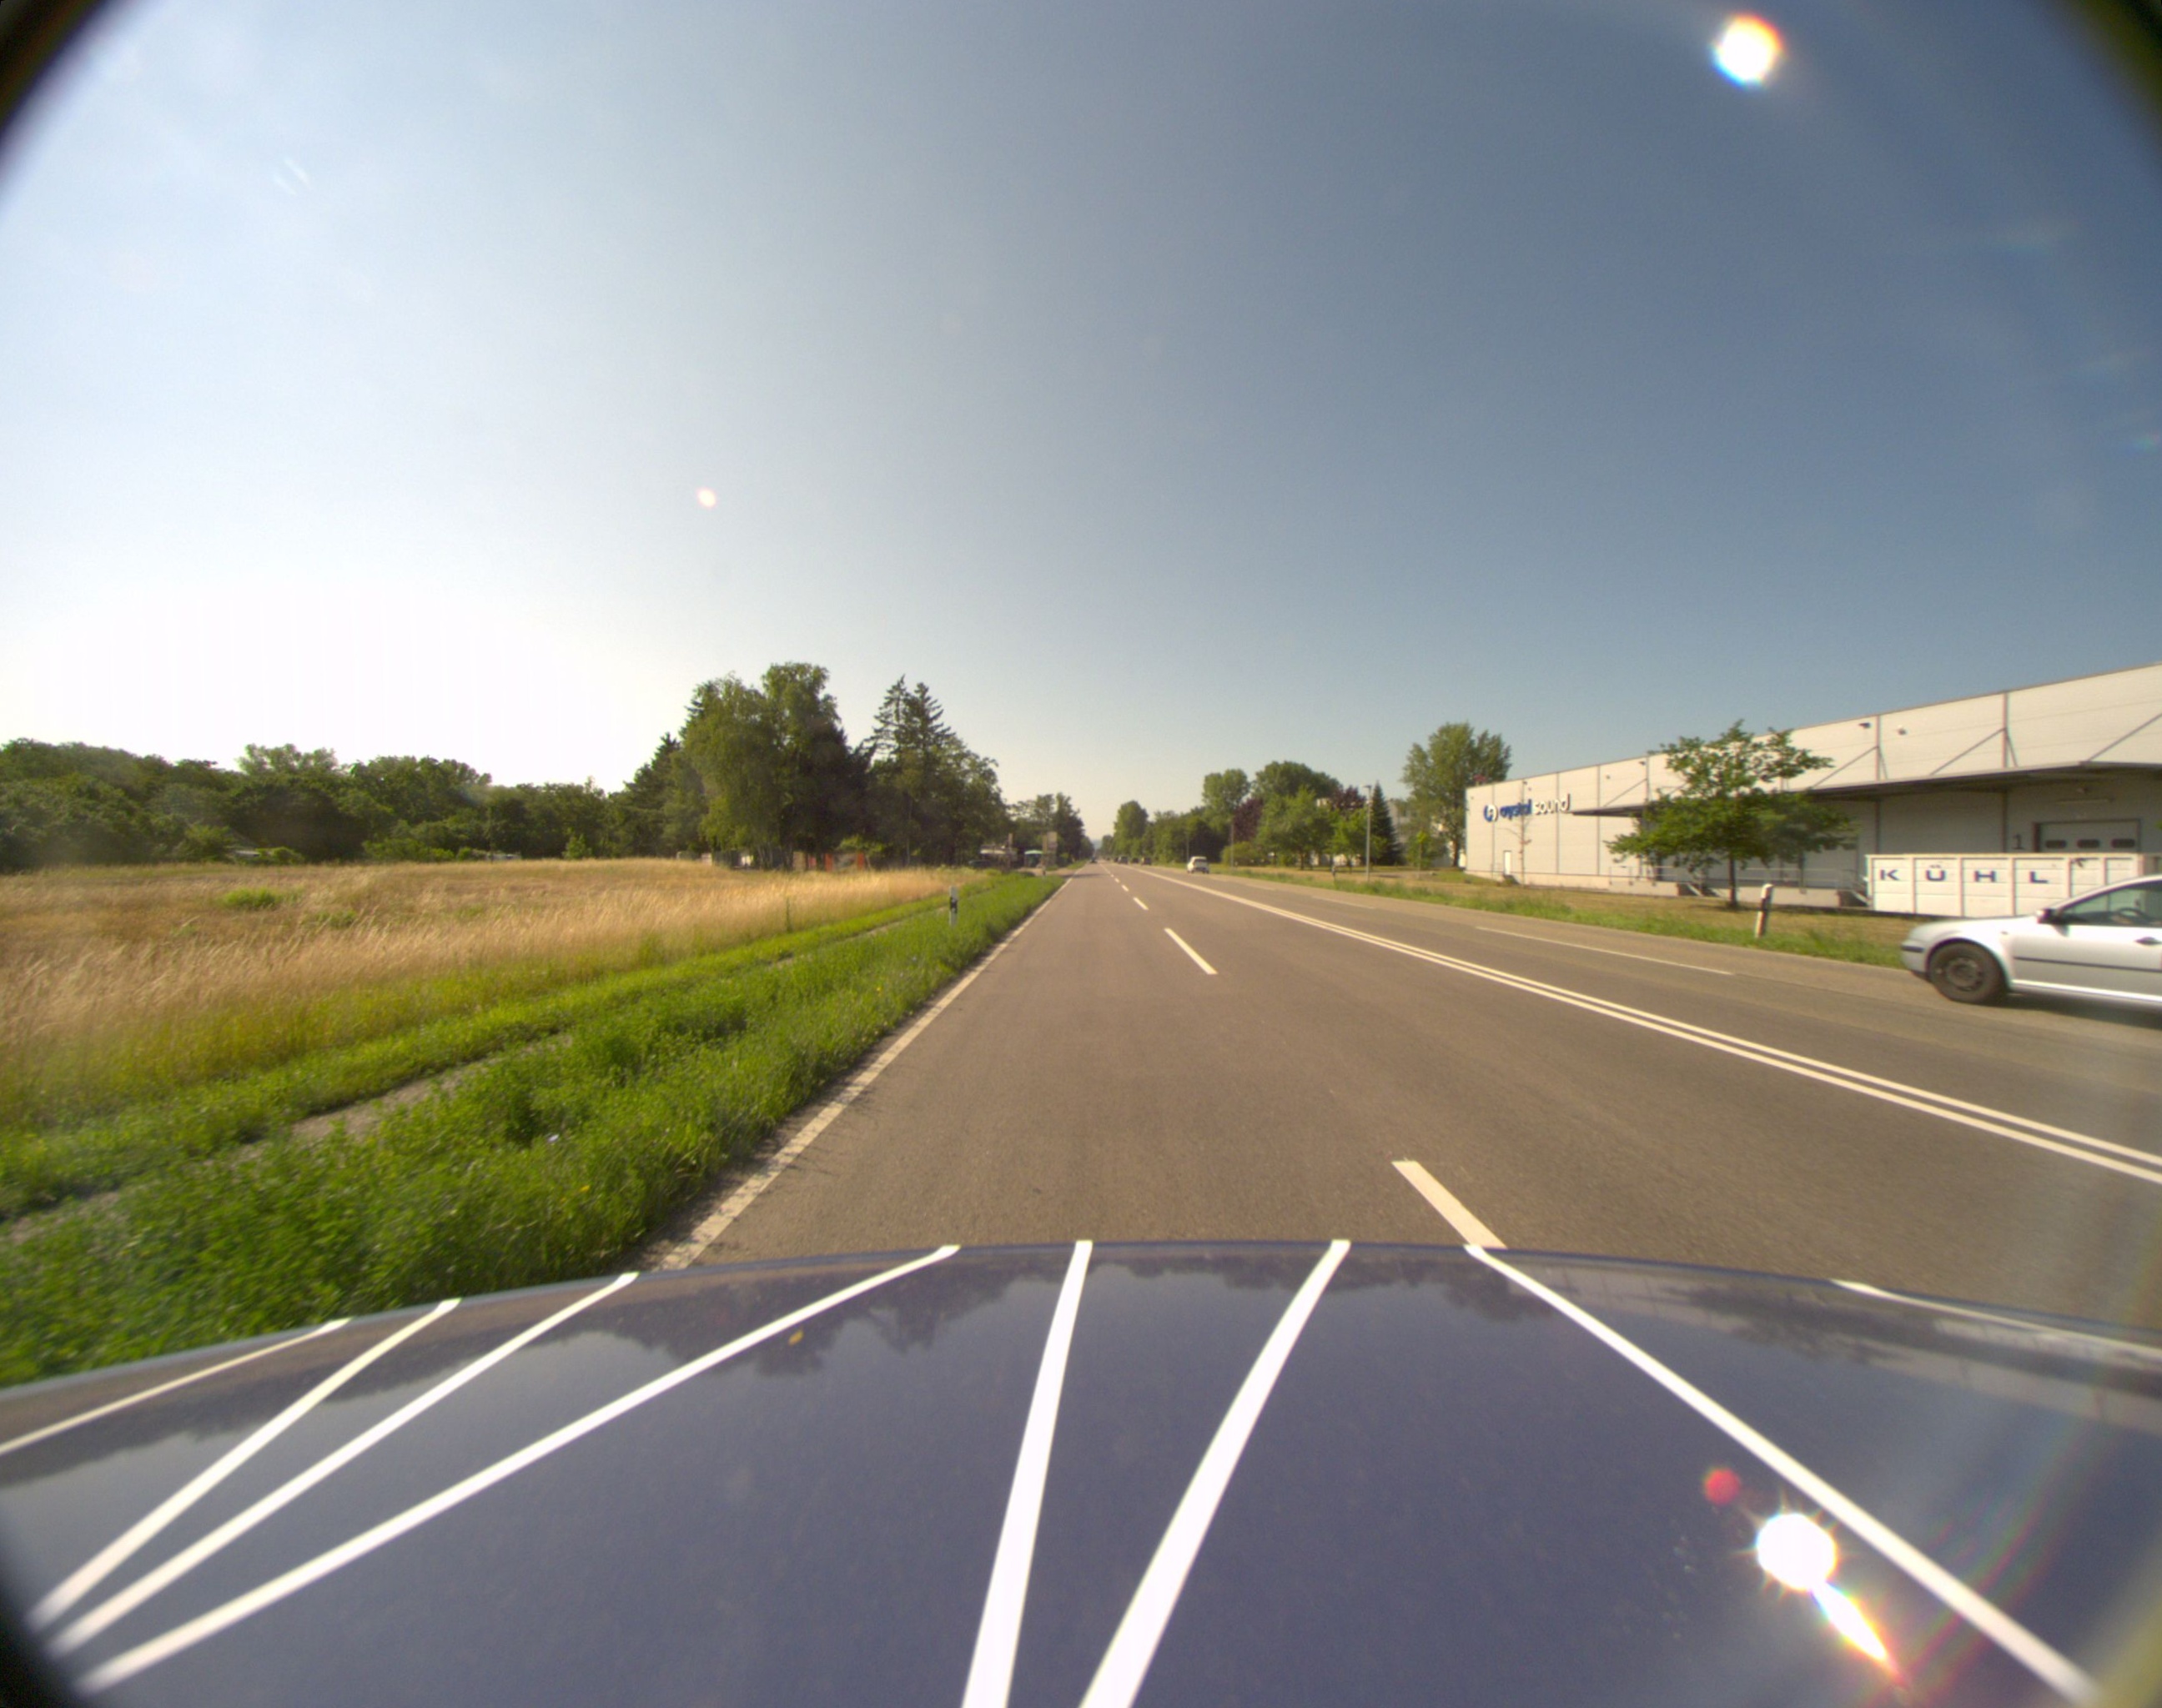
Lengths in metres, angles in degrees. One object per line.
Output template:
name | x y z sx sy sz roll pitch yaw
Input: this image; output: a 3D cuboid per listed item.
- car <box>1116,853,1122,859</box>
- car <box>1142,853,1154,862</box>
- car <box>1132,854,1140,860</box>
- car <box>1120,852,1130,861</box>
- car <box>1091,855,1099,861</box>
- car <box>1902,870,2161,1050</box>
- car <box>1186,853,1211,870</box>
car | 10.407 0.500 208.434 1.654 1.489 3.844 2 0 1
car | 11.947 0.596 135.911 1.733 1.552 4.215 2 0 1
car | 12.593 0.691 174.664 1.656 1.472 4.740 2 0 1
car | 8.685 0.576 149.965 1.776 1.704 4.569 2 0 2
car | 3.370 1.059 180.238 1.768 1.403 4.001 0 -1 2
car | 9.696 0.920 6.214 1.602 1.434 4.000 2 0 1
car | 10.692 0.640 69.195 1.663 1.429 3.735 2 0 1
